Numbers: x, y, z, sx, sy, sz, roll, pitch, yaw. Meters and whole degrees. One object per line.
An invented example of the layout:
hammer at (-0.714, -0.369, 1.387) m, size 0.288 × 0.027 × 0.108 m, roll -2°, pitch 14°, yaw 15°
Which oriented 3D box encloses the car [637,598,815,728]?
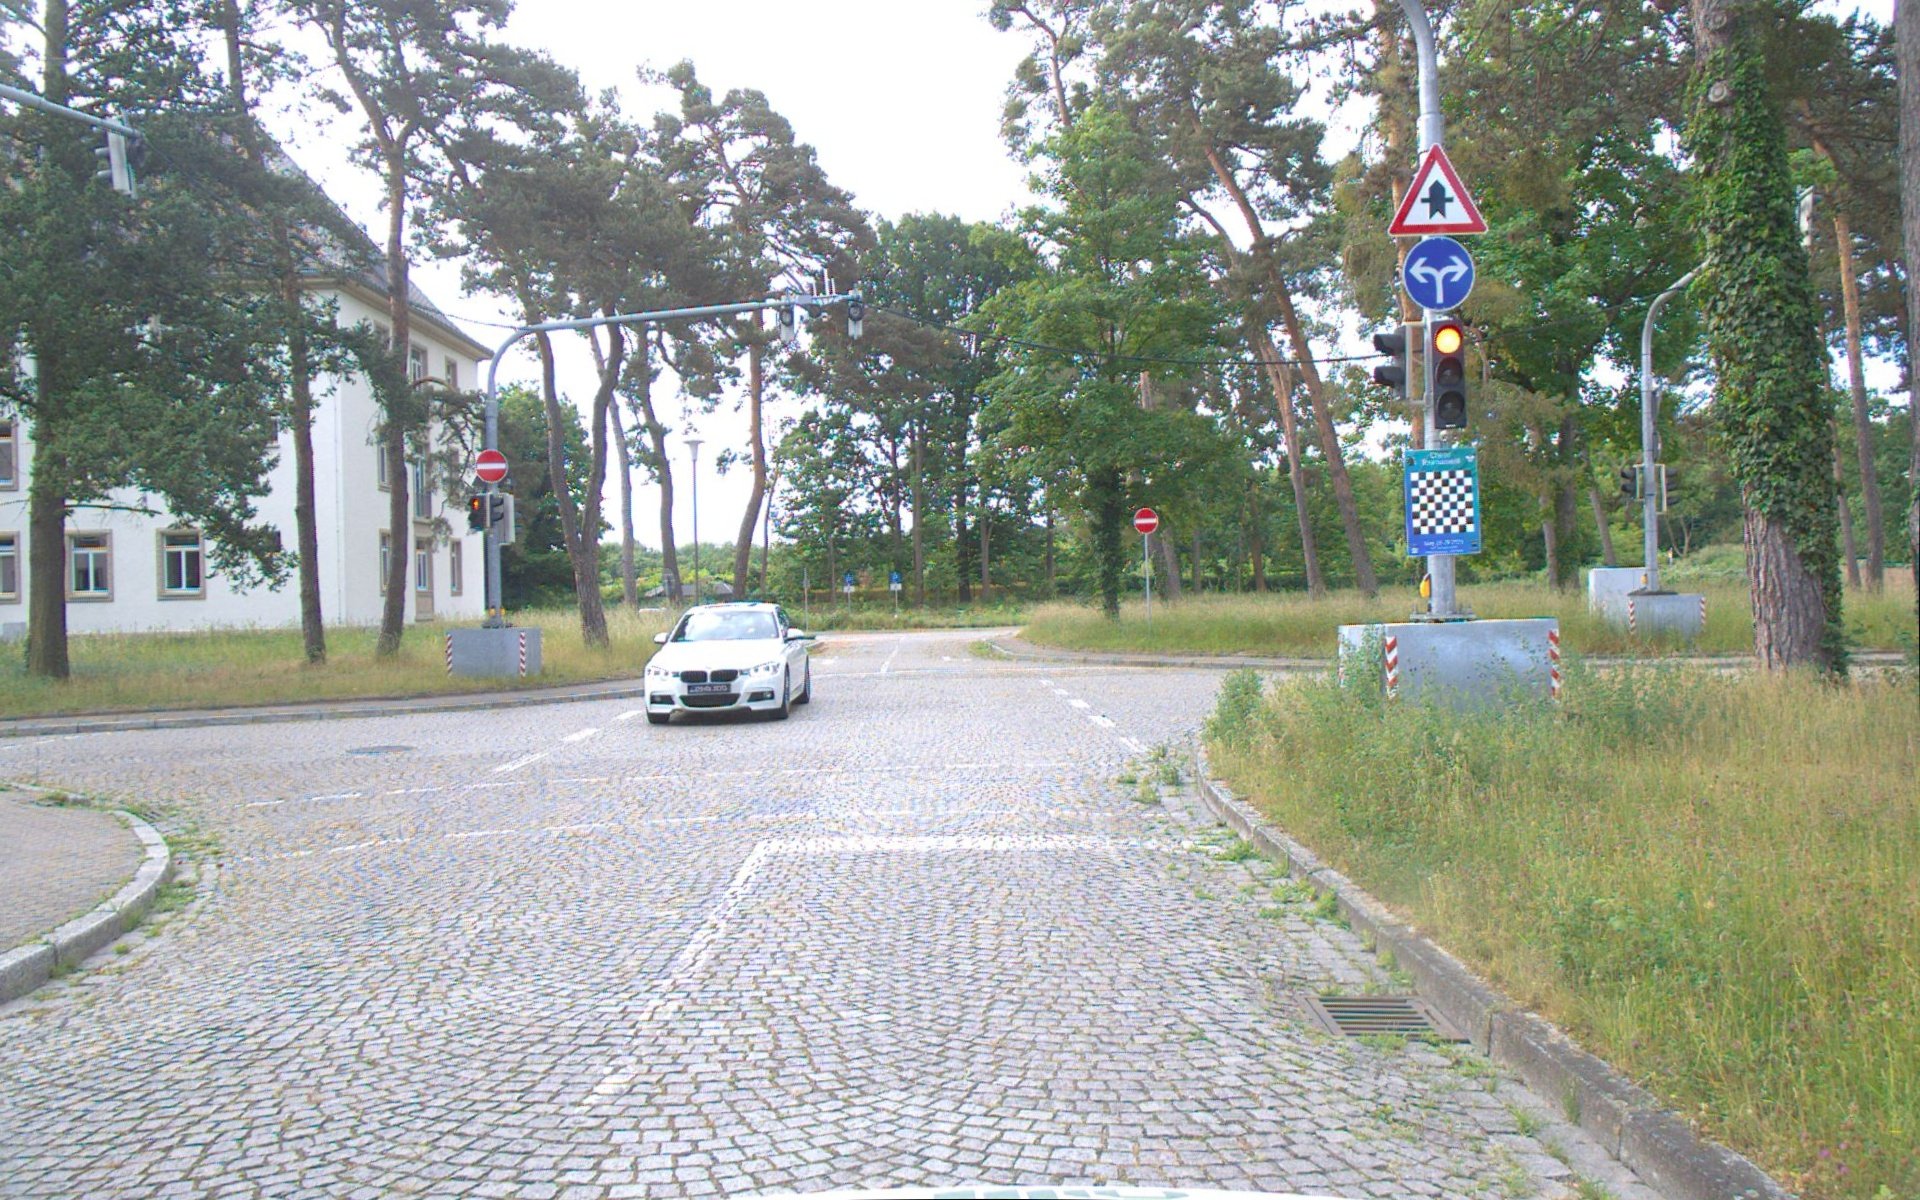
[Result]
car at (-2.992, 0.755, 21.981) m, size 1.737 × 1.463 × 4.218 m, roll -2°, pitch 0°, yaw 0°
